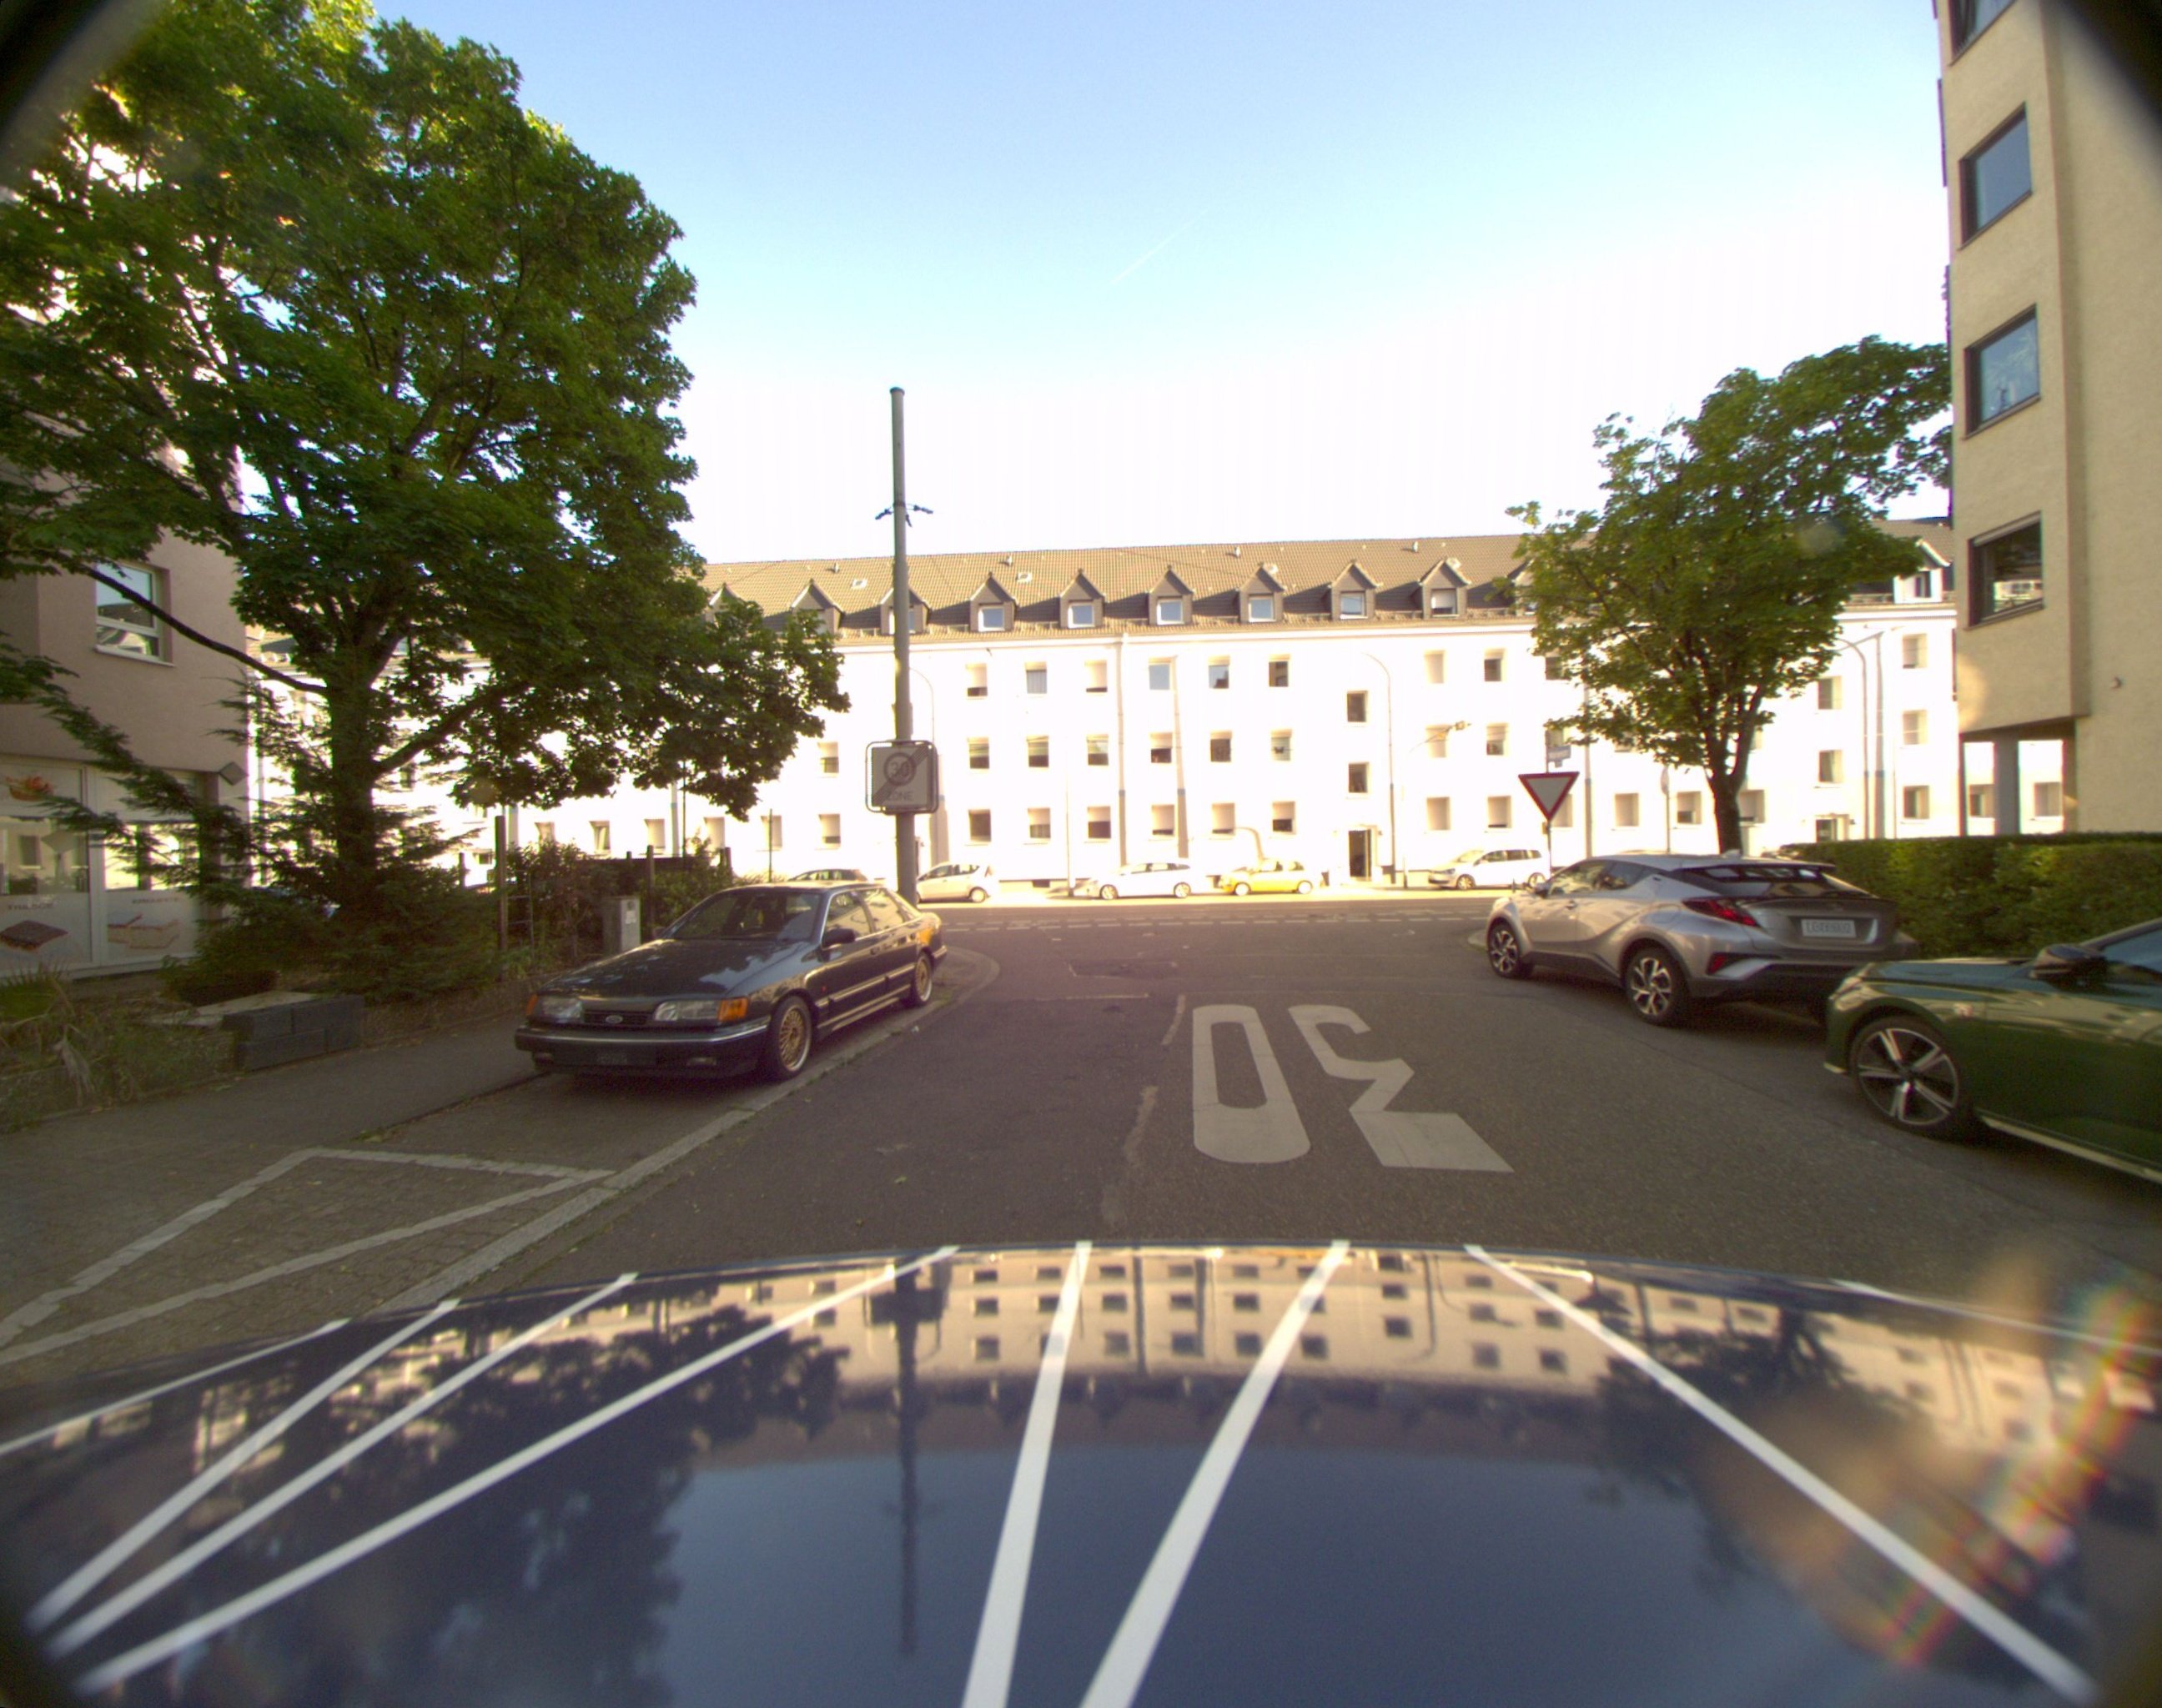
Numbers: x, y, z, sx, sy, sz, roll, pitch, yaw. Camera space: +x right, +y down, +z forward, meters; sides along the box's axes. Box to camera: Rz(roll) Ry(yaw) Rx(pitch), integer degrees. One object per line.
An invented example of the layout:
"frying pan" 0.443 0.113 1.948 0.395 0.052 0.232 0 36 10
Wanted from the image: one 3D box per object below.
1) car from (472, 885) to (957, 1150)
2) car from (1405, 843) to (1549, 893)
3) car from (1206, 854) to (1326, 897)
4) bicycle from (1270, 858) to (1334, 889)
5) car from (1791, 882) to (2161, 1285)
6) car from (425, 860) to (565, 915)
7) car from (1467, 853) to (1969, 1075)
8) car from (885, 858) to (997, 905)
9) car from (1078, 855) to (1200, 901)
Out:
"car" -2.681 1.090 6.982 1.711 1.380 4.572 0 1 8
"car" 15.130 0.509 29.190 4.623 1.657 1.759 -1 4 -1
"car" 7.047 0.808 29.170 4.198 1.422 1.518 -2 1 1
"bicycle" 9.122 0.812 31.419 2.325 1.190 1.099 -1 0 0
"car" 5.039 0.940 2.565 1.756 1.488 4.137 1 1 7
"car" -23.266 1.300 30.277 4.150 1.960 1.792 -1 2 3
"car" 5.882 0.836 7.824 1.907 1.650 4.000 0 1 3
"car" -5.372 1.053 29.461 3.900 1.563 1.759 -1 4 3
"car" 2.175 0.890 29.169 4.505 1.562 1.685 -1 2 2
